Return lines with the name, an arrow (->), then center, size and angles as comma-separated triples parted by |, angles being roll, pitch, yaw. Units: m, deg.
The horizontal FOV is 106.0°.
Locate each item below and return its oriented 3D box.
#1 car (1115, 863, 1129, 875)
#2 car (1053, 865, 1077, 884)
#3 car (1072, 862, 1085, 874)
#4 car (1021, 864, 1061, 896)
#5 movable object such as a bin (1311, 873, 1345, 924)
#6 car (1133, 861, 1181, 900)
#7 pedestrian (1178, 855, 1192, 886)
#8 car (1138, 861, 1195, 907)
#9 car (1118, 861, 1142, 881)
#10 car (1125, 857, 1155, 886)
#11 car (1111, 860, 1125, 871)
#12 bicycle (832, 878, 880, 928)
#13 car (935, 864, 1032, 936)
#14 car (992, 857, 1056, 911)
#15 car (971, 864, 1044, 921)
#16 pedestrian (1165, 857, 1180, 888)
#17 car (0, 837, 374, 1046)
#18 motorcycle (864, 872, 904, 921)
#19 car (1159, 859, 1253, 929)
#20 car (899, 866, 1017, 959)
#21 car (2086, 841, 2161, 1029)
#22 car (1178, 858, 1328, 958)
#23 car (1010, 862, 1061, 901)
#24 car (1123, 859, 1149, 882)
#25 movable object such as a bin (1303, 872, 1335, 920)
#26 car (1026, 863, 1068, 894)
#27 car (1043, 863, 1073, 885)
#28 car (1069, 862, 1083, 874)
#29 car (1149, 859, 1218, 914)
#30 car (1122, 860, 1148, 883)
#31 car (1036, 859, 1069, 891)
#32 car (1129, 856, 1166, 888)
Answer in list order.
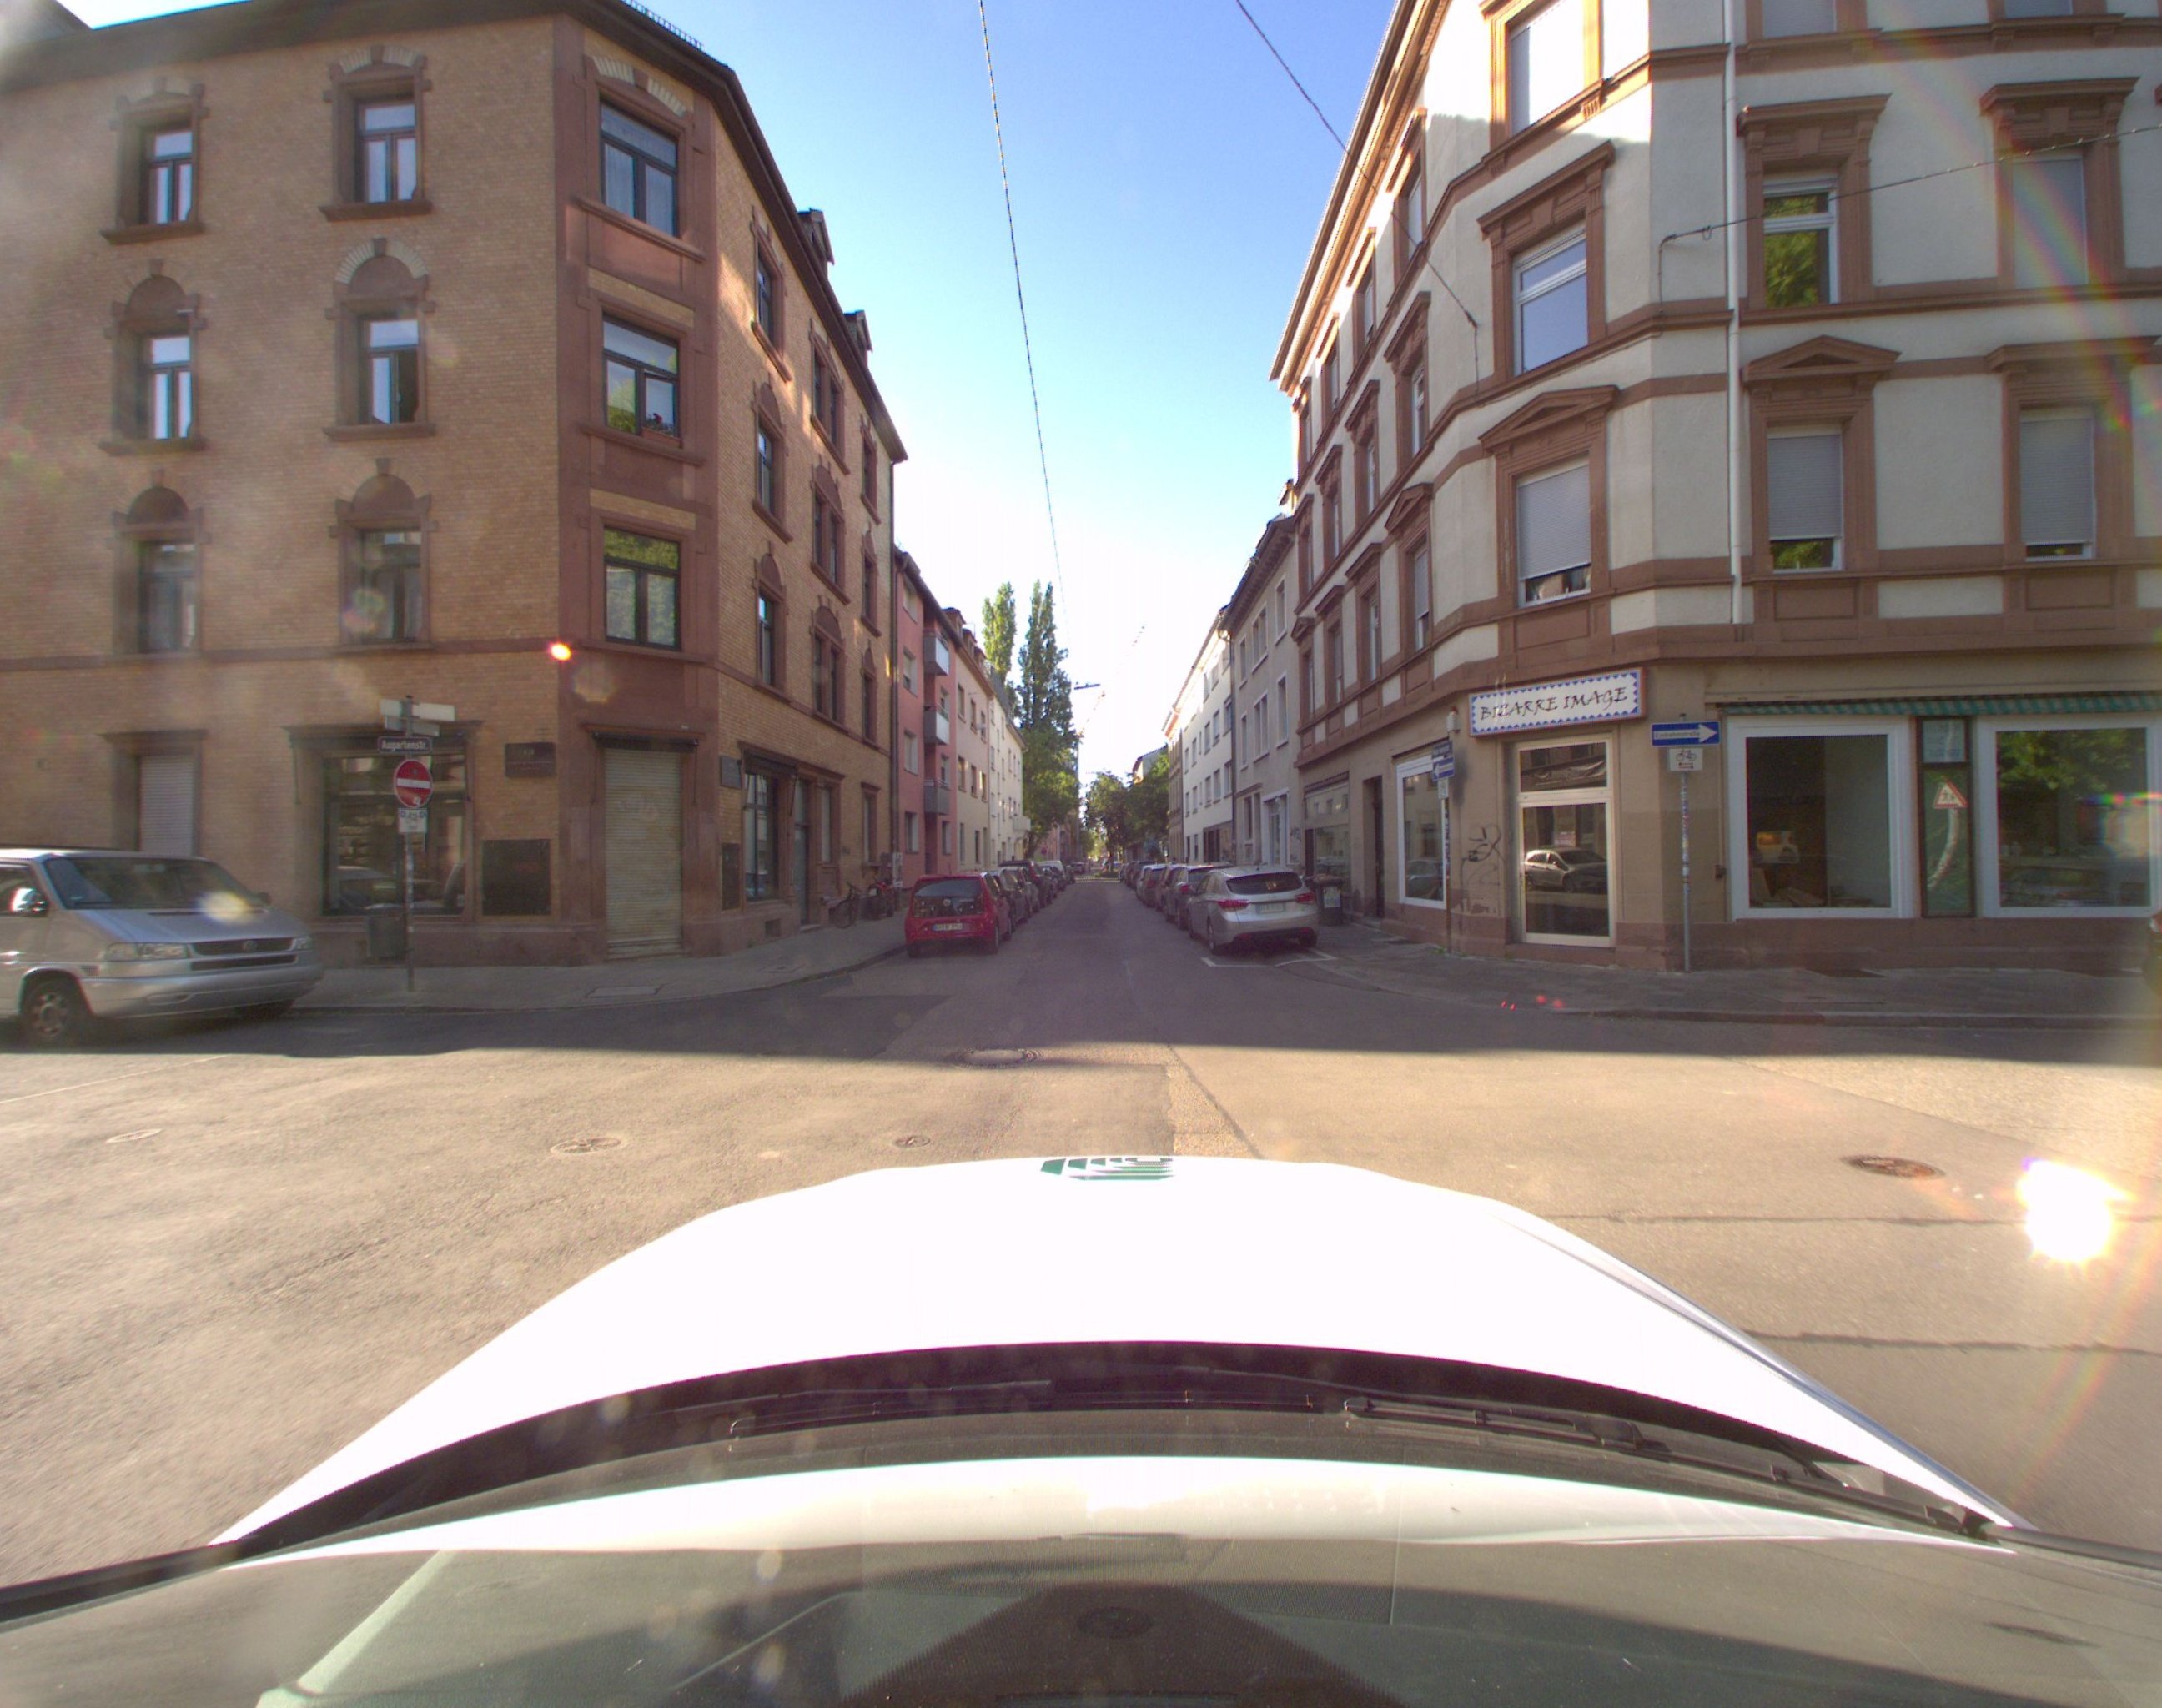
car -> 5.321, 1.925, 105.685 | 1.670, 1.487, 3.638 | -3, 0, 0
car -> -1.209, 1.575, 63.291 | 1.664, 1.361, 4.049 | -3, 0, 1
car -> -0.341, 1.845, 109.595 | 1.670, 1.487, 4.094 | -3, 0, 0
car -> -1.979, 1.278, 41.096 | 1.667, 1.388, 4.182 | -3, 0, 1
movable object such as a bin -> 5.373, 0.957, 17.709 | 0.512, 1.040, 0.620 | -3, -1, 1
car -> 3.242, 1.096, 35.301 | 1.670, 1.507, 3.937 | -3, 0, 0
pedestrian -> 5.757, 0.902, 45.092 | 0.683, 1.660, 0.717 | -2, -1, 1
car -> 3.120, 1.059, 30.415 | 1.670, 1.507, 3.937 | -3, 0, 0
car -> 3.954, 1.360, 66.506 | 1.670, 1.487, 4.094 | -3, 0, 0
car -> 3.714, 1.120, 51.891 | 1.669, 1.681, 4.096 | -3, -1, 2
car -> 5.085, 1.563, 111.924 | 1.670, 1.487, 3.638 | -3, 0, 0
bicycle -> -5.371, 1.155, 19.551 | 0.531, 1.074, 1.891 | 3, 0, 2
car -> -2.338, 1.075, 20.566 | 1.688, 1.521, 4.099 | -3, 0, 3
car -> -2.065, 1.049, 30.763 | 1.736, 1.811, 4.675 | -3, 0, 3
car -> -2.207, 1.139, 25.359 | 1.649, 1.521, 3.947 | -3, 0, 3
pedestrian -> 5.067, 1.011, 45.080 | 0.683, 1.660, 0.717 | -2, -1, 1
car -> -10.663, 0.880, 8.662 | 4.687, 1.894, 2.030 | -1, -2, 6
motorcycle -> -5.297, 1.117, 21.971 | 0.531, 1.206, 1.909 | -1, -1, 2
car -> 3.060, 0.926, 20.625 | 1.738, 1.507, 4.021 | -3, 0, 0
car -> -2.259, 1.040, 15.812 | 1.622, 1.481, 3.601 | -3, 0, 1
car -> 11.154, 0.653, 6.410 | 3.897, 1.608, 1.765 | -1, -3, 7
car -> 3.037, 0.886, 15.313 | 1.739, 1.507, 4.355 | -3, 0, -1
car -> -1.943, 1.186, 36.065 | 1.736, 1.507, 4.349 | -3, 0, 3
car -> 3.878, 1.156, 57.389 | 1.561, 1.483, 3.619 | -3, 0, 0
movable object such as a bin -> 5.391, 0.946, 18.463 | 0.512, 1.040, 0.594 | -3, -1, 1
car -> -1.834, 1.330, 45.488 | 1.665, 1.486, 3.999 | -3, 0, 6
car -> -1.619, 1.417, 58.897 | 1.662, 1.469, 3.824 | -3, 0, 4
car -> -0.640, 1.785, 104.198 | 1.670, 1.487, 4.094 | -3, 0, 0
car -> 3.122, 0.953, 25.474 | 1.593, 1.507, 4.184 | -3, 0, 1
car -> 4.045, 1.281, 61.601 | 1.670, 1.561, 3.796 | -3, 0, 0
car -> -1.730, 1.253, 50.108 | 1.759, 1.785, 4.039 | -3, 0, 0
car -> 3.796, 1.017, 46.975 | 1.670, 1.627, 4.250 | -5, -1, 0
